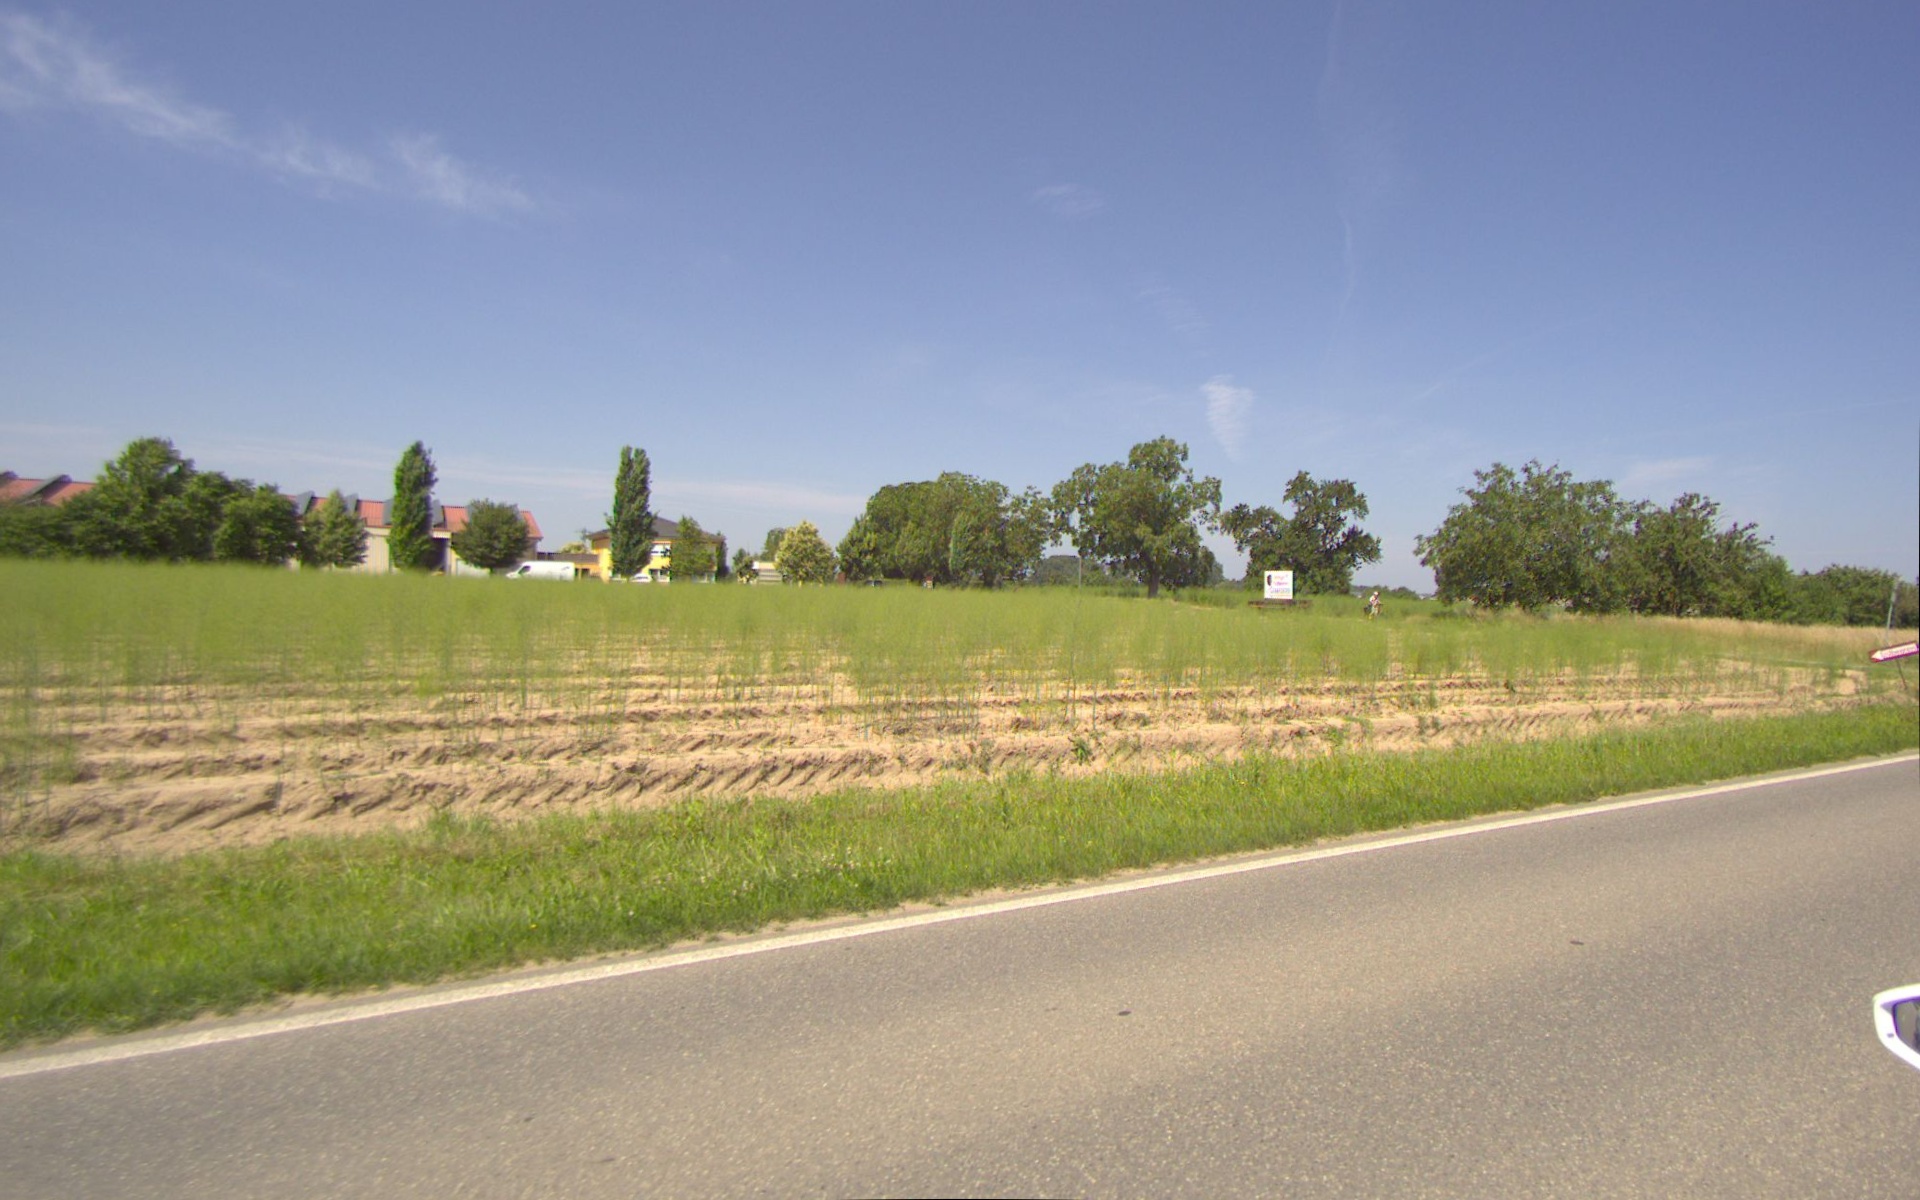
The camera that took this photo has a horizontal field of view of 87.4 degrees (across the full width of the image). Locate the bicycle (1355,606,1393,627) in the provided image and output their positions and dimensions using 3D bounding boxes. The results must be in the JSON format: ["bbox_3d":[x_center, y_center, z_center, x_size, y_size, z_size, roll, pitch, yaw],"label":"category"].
[{"bbox_3d":[21.880,0.844,53.164,0.672,1.005,1.914,2,1,-22],"label":"bicycle"}]

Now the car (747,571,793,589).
[{"bbox_3d":[-18.391,-1.942,97.471,3.958,1.559,1.854,2,1,-34],"label":"car"}]

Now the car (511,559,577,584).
[{"bbox_3d":[-38.671,-2.612,93.435,5.436,2.089,1.858,2,1,-28],"label":"car"}]

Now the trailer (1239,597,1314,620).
[{"bbox_3d":[17.657,0.451,56.190,1.971,1.154,3.980,2,0,-21],"label":"trailer"}]

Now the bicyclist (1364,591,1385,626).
[{"bbox_3d":[21.907,0.454,53.128,0.653,1.781,0.698,2,1,-22],"label":"bicyclist"}]
